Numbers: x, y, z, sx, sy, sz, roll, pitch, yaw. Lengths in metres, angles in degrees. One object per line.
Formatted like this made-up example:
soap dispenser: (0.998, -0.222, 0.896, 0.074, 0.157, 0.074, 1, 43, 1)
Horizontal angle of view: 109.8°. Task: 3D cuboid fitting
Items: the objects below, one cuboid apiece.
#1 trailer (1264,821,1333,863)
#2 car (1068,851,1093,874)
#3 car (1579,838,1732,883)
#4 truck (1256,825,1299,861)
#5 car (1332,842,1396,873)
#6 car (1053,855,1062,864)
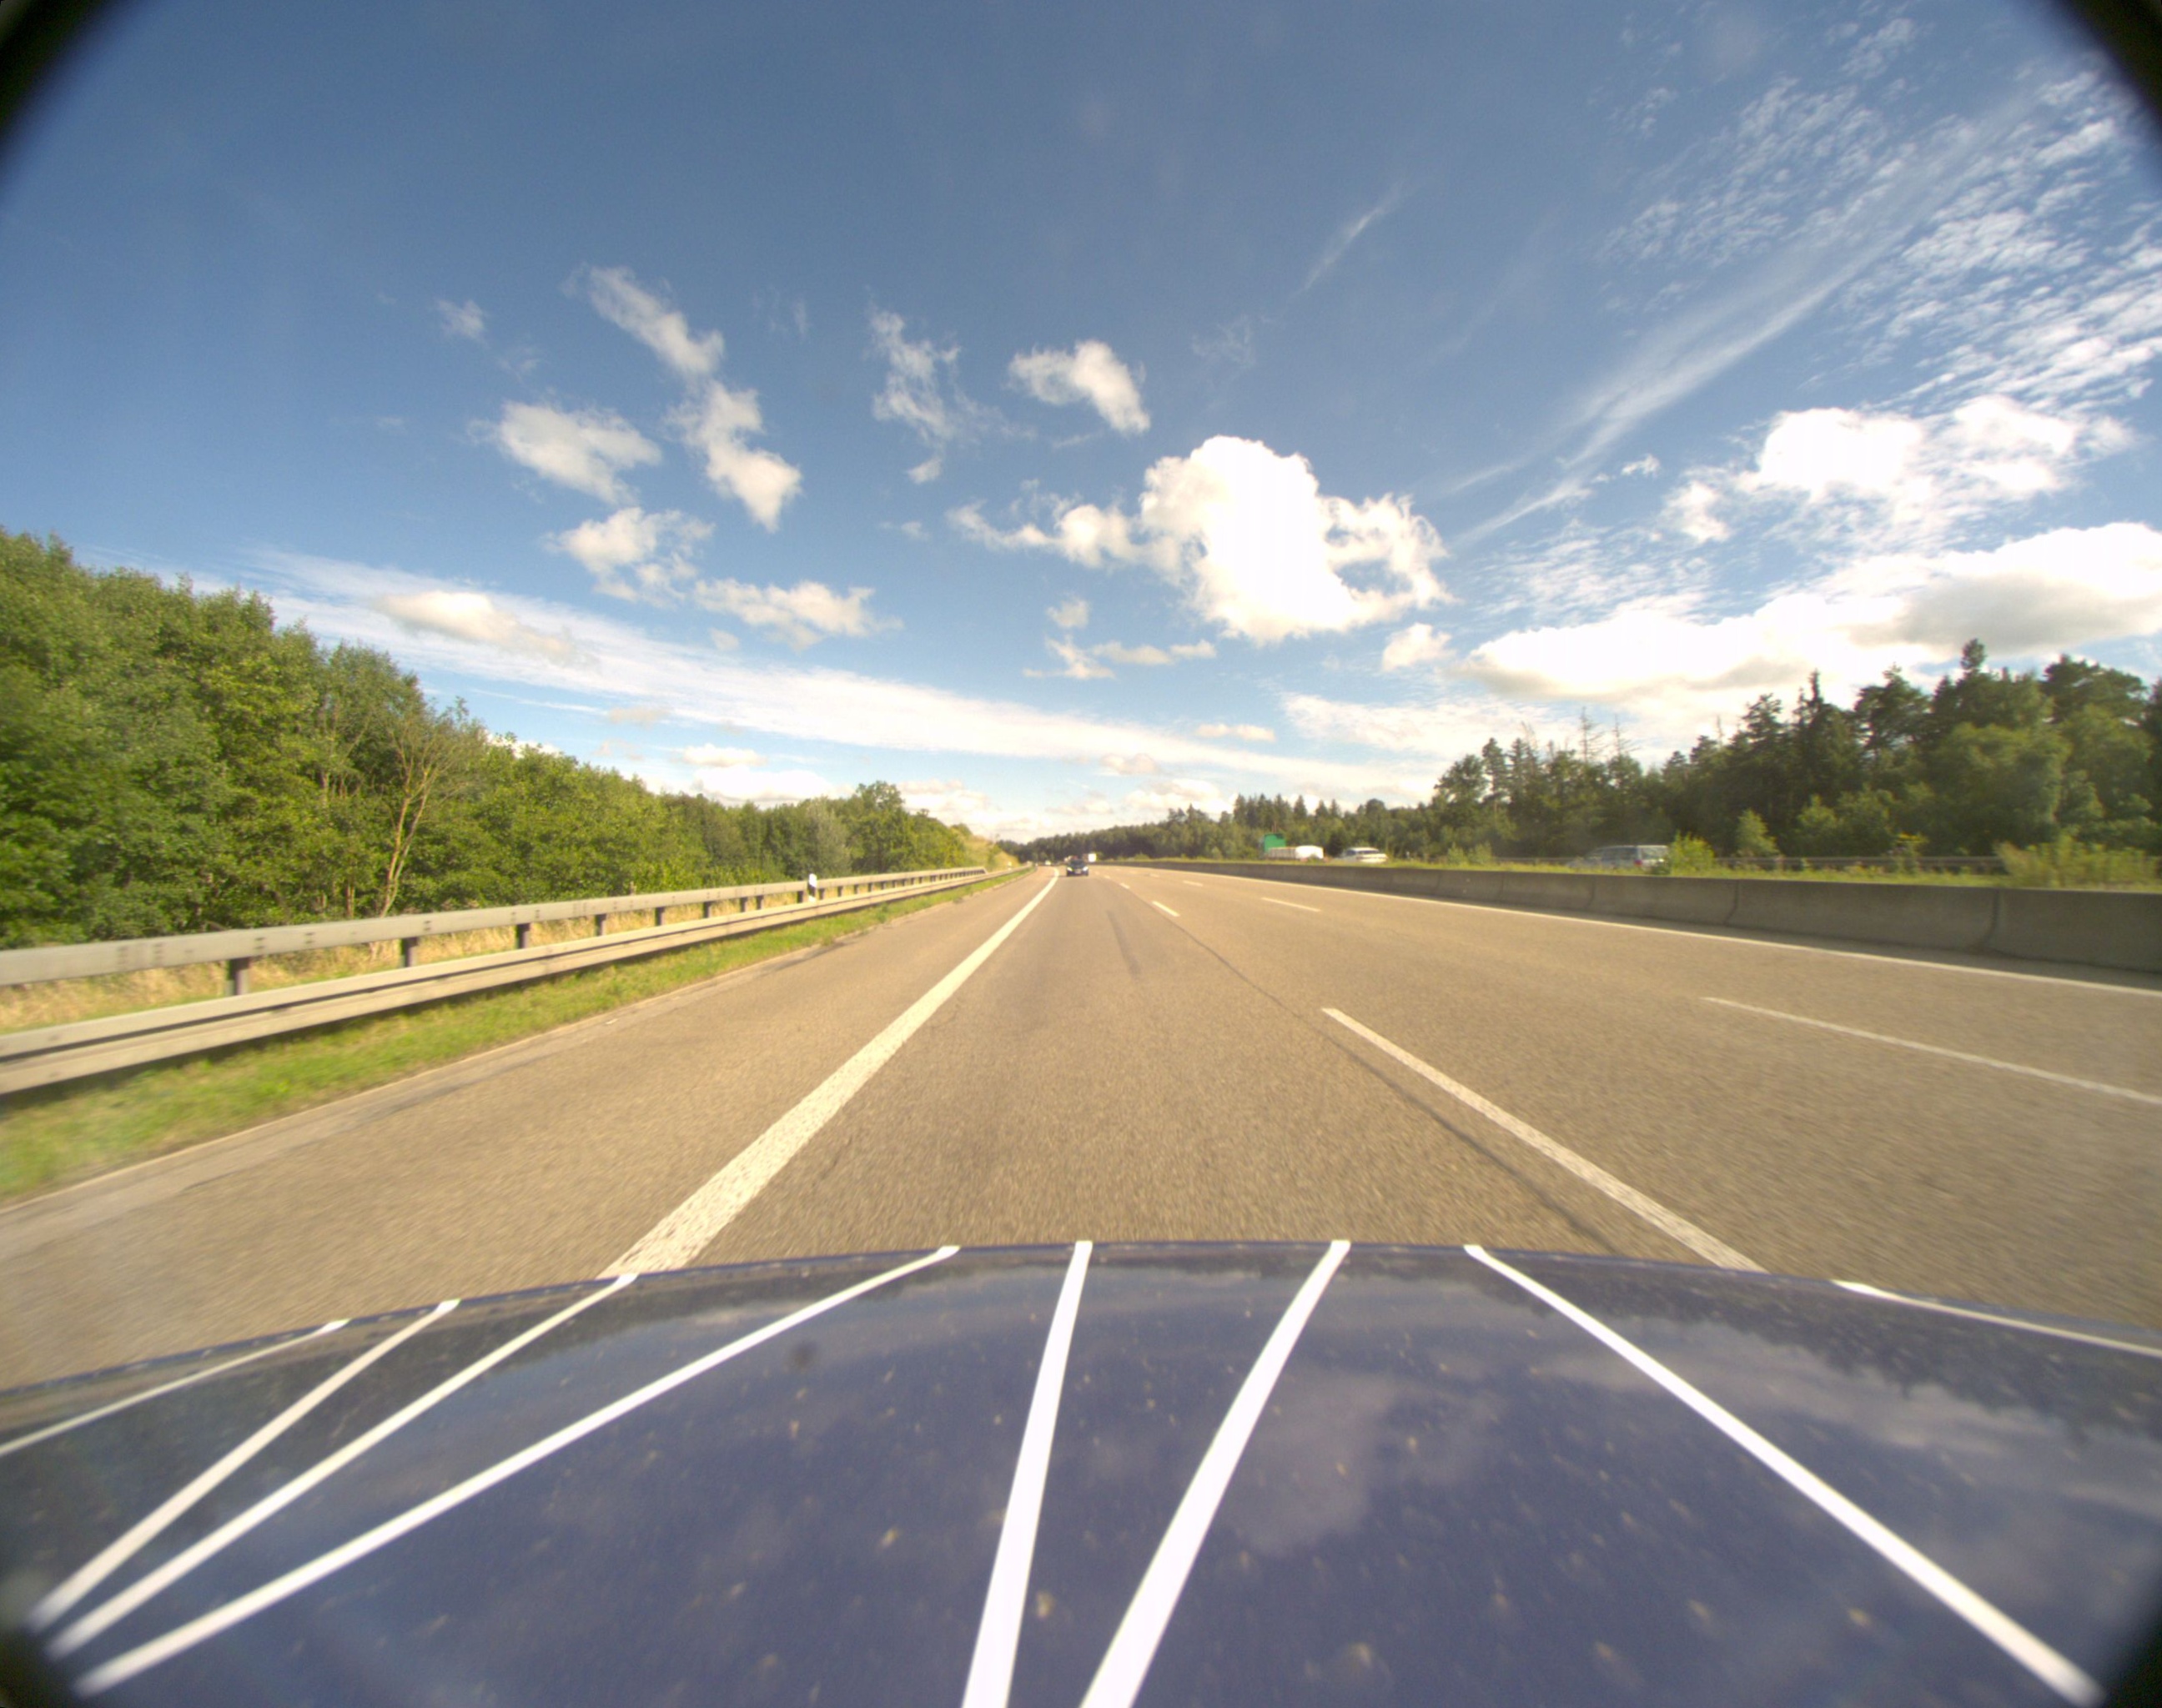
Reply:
trailer: (22.965, -1.190, 81.352, 3.384, 3.985, 13.639, -2, 0, 0)
car: (-0.048, 0.726, 64.816, 1.999, 1.827, 3.999, -2, 0, -2)
car: (19.926, 0.195, 26.647, 1.998, 1.395, 4.464, -2, 0, 0)
truck: (22.936, -1.205, 89.168, 3.384, 3.985, 5.863, -2, 0, 0)
car: (16.019, 0.181, 43.251, 1.930, 1.600, 4.464, -2, 0, 0)
car: (-5.500, 1.243, 181.898, 1.999, 2.002, 3.999, -2, 0, -1)
